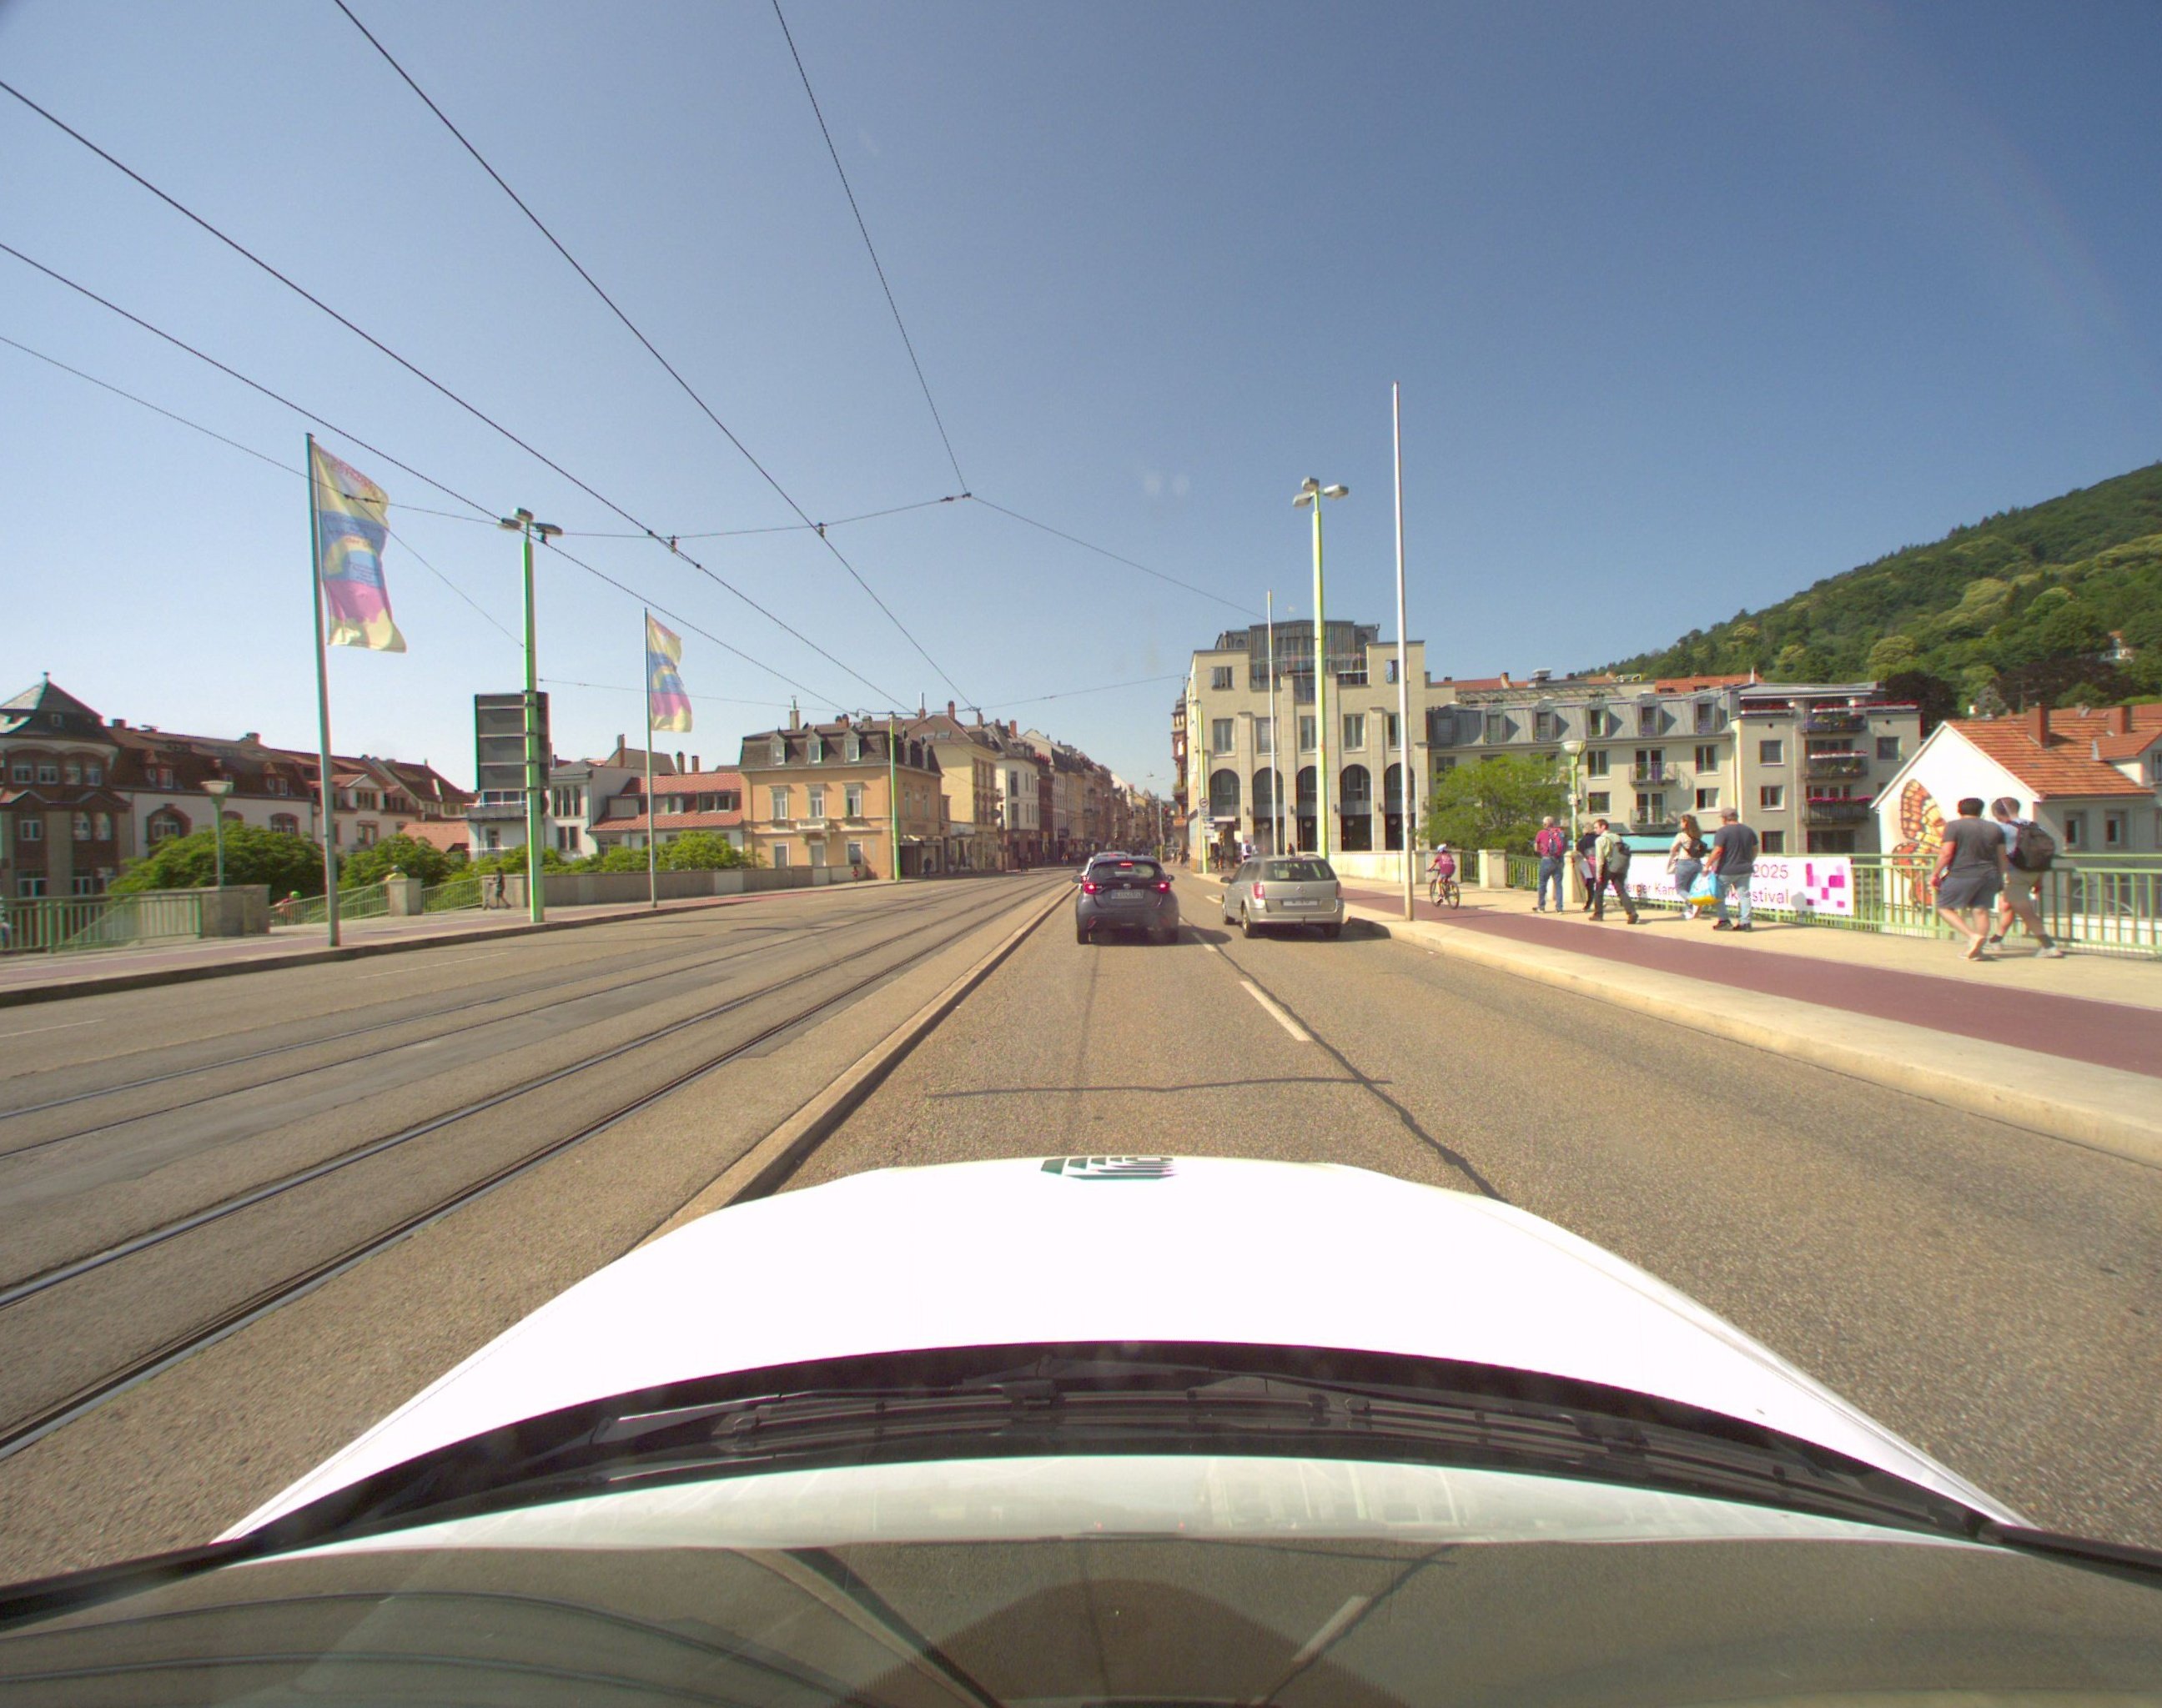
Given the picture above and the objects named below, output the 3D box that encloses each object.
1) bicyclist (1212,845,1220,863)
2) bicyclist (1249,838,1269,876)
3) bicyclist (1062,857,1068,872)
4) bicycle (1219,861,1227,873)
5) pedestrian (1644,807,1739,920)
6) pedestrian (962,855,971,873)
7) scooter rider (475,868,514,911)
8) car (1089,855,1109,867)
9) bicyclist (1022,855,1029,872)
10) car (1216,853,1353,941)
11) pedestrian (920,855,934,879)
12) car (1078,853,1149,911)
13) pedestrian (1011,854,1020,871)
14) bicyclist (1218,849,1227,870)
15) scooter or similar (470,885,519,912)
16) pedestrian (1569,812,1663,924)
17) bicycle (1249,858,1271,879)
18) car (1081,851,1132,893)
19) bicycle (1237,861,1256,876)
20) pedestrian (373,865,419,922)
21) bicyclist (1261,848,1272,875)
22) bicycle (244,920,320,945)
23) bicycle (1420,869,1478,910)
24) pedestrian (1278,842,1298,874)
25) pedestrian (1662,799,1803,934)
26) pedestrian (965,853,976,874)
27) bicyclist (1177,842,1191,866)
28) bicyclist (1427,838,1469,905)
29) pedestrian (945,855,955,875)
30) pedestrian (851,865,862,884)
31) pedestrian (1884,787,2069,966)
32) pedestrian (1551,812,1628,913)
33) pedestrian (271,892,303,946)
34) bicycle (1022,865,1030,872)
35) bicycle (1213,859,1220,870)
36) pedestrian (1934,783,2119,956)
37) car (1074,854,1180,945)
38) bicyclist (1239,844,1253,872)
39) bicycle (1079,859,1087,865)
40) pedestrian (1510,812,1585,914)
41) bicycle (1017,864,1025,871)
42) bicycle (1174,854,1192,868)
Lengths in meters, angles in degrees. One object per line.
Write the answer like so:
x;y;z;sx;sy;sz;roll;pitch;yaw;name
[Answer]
9.428;0.018;56.916;0.420;1.256;0.444;-3;0;5;bicyclist
8.182;0.158;37.395;0.699;1.695;0.925;-2;0;3;bicyclist
-1.833;1.223;95.141;0.625;1.650;0.622;0;1;3;bicyclist
9.229;0.854;52.918;0.414;0.765;1.208;-3;0;9;bicycle
10.038;0.152;13.436;0.736;1.746;1.016;-3;0;2;pedestrian
-10.435;0.886;74.169;0.646;1.602;0.566;3;2;2;pedestrian
-18.900;1.138;26.235;0.763;1.315;0.600;2;0;13;scooter rider
2.400;0.910;106.754;1.719;1.460;4.388;-2;0;12;car
-5.535;0.926;81.657;0.625;1.650;0.622;0;1;3;bicyclist
3.753;0.712;15.747;1.699;1.466;4.328;0;0;2;car
-11.149;0.934;58.920;0.758;1.654;0.713;3;0;7;pedestrian
0.938;0.742;23.737;1.890;1.530;4.002;0;0;2;car
-6.983;0.912;86.821;0.733;1.766;0.788;-1;1;2;pedestrian
9.181;0.350;52.894;0.535;1.316;0.673;-3;0;9;bicyclist
-18.901;1.417;26.251;0.774;0.782;0.964;2;0;13;scooter or similar
8.719;0.227;13.315;0.751;1.718;1.073;-3;0;2;pedestrian
8.205;0.655;37.347;0.701;0.882;1.527;-3;0;3;bicycle
1.006;0.673;31.862;1.890;1.530;4.002;0;0;2;car
9.020;0.784;44.346;0.419;0.765;0.951;-3;0;-37;bicycle
-22.141;1.276;26.342;0.740;1.781;0.804;-2;0;11;pedestrian
9.644;0.383;42.362;0.420;1.383;0.444;-3;0;2;bicyclist
-25.138;2.467;25.623;1.917;0.716;0.623;0;1;6;bicycle
7.831;0.743;17.400;0.512;0.765;1.661;-3;0;3;bicycle
11.022;0.215;43.348;0.736;1.615;1.016;3;0;2;pedestrian
9.271;0.168;11.648;0.974;1.777;1.208;-3;0;2;pedestrian
-9.791;0.824;71.960;0.733;1.766;0.787;3;0;2;pedestrian
11.116;0.018;87.789;1.227;2.529;1.102;3;0;-7;bicyclist
7.812;0.368;17.353;0.532;1.383;0.669;-3;0;2;bicyclist
-10.824;0.929;67.375;0.646;1.602;0.566;3;2;2;pedestrian
-13.719;1.244;49.734;0.409;1.146;0.545;3;0;7;pedestrian
9.294;0.218;8.504;0.736;1.718;1.016;-3;0;2;pedestrian
9.459;0.150;15.191;0.736;1.777;1.016;-3;0;2;pedestrian
-25.055;2.046;25.704;0.622;1.632;0.414;1;0;6;pedestrian
-5.526;1.451;81.652;0.618;0.716;1.772;0;1;2;bicycle
9.472;0.728;56.860;0.414;0.765;0.963;-3;0;5;bicycle
10.063;0.155;8.717;0.736;1.718;1.016;-2;0;2;pedestrian
0.813;0.738;15.116;1.713;1.473;3.660;0;0;2;car
8.986;0.205;44.354;0.487;1.466;0.438;-3;0;-37;bicyclist
0.298;1.016;102.564;0.616;0.716;2.051;0;1;12;bicycle
8.690;0.164;15.201;0.736;1.802;1.016;-3;0;2;pedestrian
-6.399;1.420;86.668;0.618;0.716;1.772;-1;1;2;bicycle
10.999;0.719;87.945;1.111;1.420;3.000;2;0;-7;bicycle
